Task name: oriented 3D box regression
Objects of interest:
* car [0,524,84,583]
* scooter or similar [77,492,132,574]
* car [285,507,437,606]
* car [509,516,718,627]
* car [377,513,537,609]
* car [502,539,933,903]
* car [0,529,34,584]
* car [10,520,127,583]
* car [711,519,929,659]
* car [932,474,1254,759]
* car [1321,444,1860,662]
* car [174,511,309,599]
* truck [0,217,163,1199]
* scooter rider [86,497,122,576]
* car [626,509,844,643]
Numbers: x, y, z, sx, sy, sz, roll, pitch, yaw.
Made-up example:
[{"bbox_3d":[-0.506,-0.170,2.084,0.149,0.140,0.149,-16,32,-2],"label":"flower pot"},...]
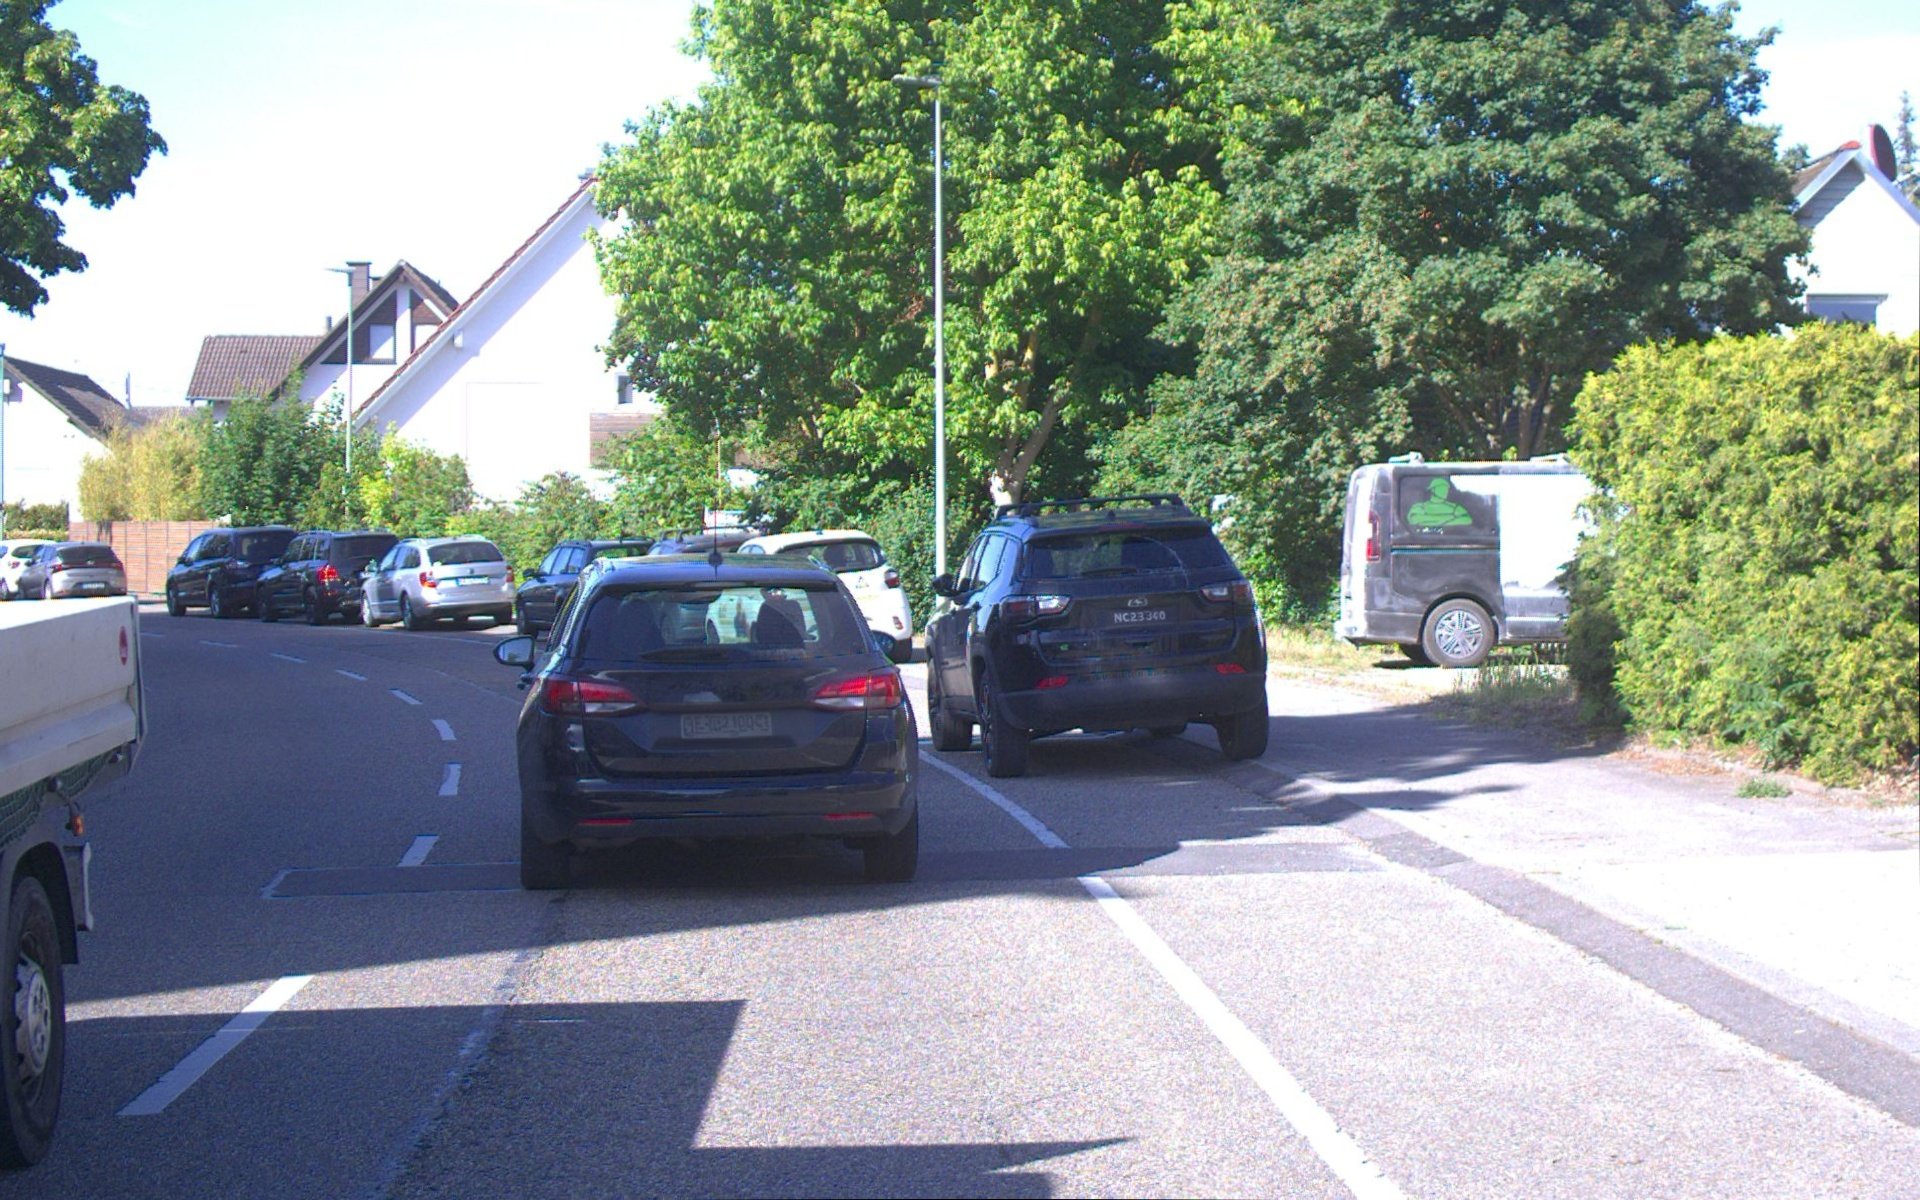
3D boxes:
[{"bbox_3d":[-23.178,-1.147,84.794,1.916,1.402,4.294,-1,1,-30],"label":"car"},{"bbox_3d":[-22.060,-1.703,88.627,0.685,2.007,2.962,0,-1,-27],"label":"scooter or similar"},{"bbox_3d":[-10.874,-0.791,62.226,2.005,1.718,4.295,-1,1,-20],"label":"car"},{"bbox_3d":[-4.938,-0.411,48.487,2.005,1.470,4.295,-1,1,-19],"label":"car"},{"bbox_3d":[-8.420,-0.651,57.244,1.819,1.529,4.260,-1,1,-20],"label":"car"},{"bbox_3d":[-1.126,0.485,16.461,1.761,1.486,4.291,1,1,-3],"label":"car"},{"bbox_3d":[-25.493,-1.116,88.951,1.916,1.402,4.294,-1,1,-30],"label":"car"},{"bbox_3d":[-20.545,-1.100,79.150,1.916,1.402,4.295,-1,1,-24],"label":"car"},{"bbox_3d":[-1.633,-0.141,38.661,1.760,1.475,4.295,-1,1,-12],"label":"car"},{"bbox_3d":[0.795,0.071,23.053,1.777,1.718,4.295,0,1,-3],"label":"car"},{"bbox_3d":[5.944,-0.453,32.834,4.680,1.977,2.143,0,1,-3],"label":"car"},{"bbox_3d":[-14.085,-0.872,67.282,1.902,1.660,4.192,-1,1,-21],"label":"car"},{"bbox_3d":[-3.238,0.300,6.737,2.129,2.326,6.443,-1,1,-3],"label":"truck"},{"bbox_3d":[-22.085,-1.635,88.692,0.685,2.007,0.820,0,-1,-28],"label":"scooter rider"},{"bbox_3d":[-2.901,-0.311,43.439,1.911,1.595,4.295,-1,1,-15],"label":"car"}]
